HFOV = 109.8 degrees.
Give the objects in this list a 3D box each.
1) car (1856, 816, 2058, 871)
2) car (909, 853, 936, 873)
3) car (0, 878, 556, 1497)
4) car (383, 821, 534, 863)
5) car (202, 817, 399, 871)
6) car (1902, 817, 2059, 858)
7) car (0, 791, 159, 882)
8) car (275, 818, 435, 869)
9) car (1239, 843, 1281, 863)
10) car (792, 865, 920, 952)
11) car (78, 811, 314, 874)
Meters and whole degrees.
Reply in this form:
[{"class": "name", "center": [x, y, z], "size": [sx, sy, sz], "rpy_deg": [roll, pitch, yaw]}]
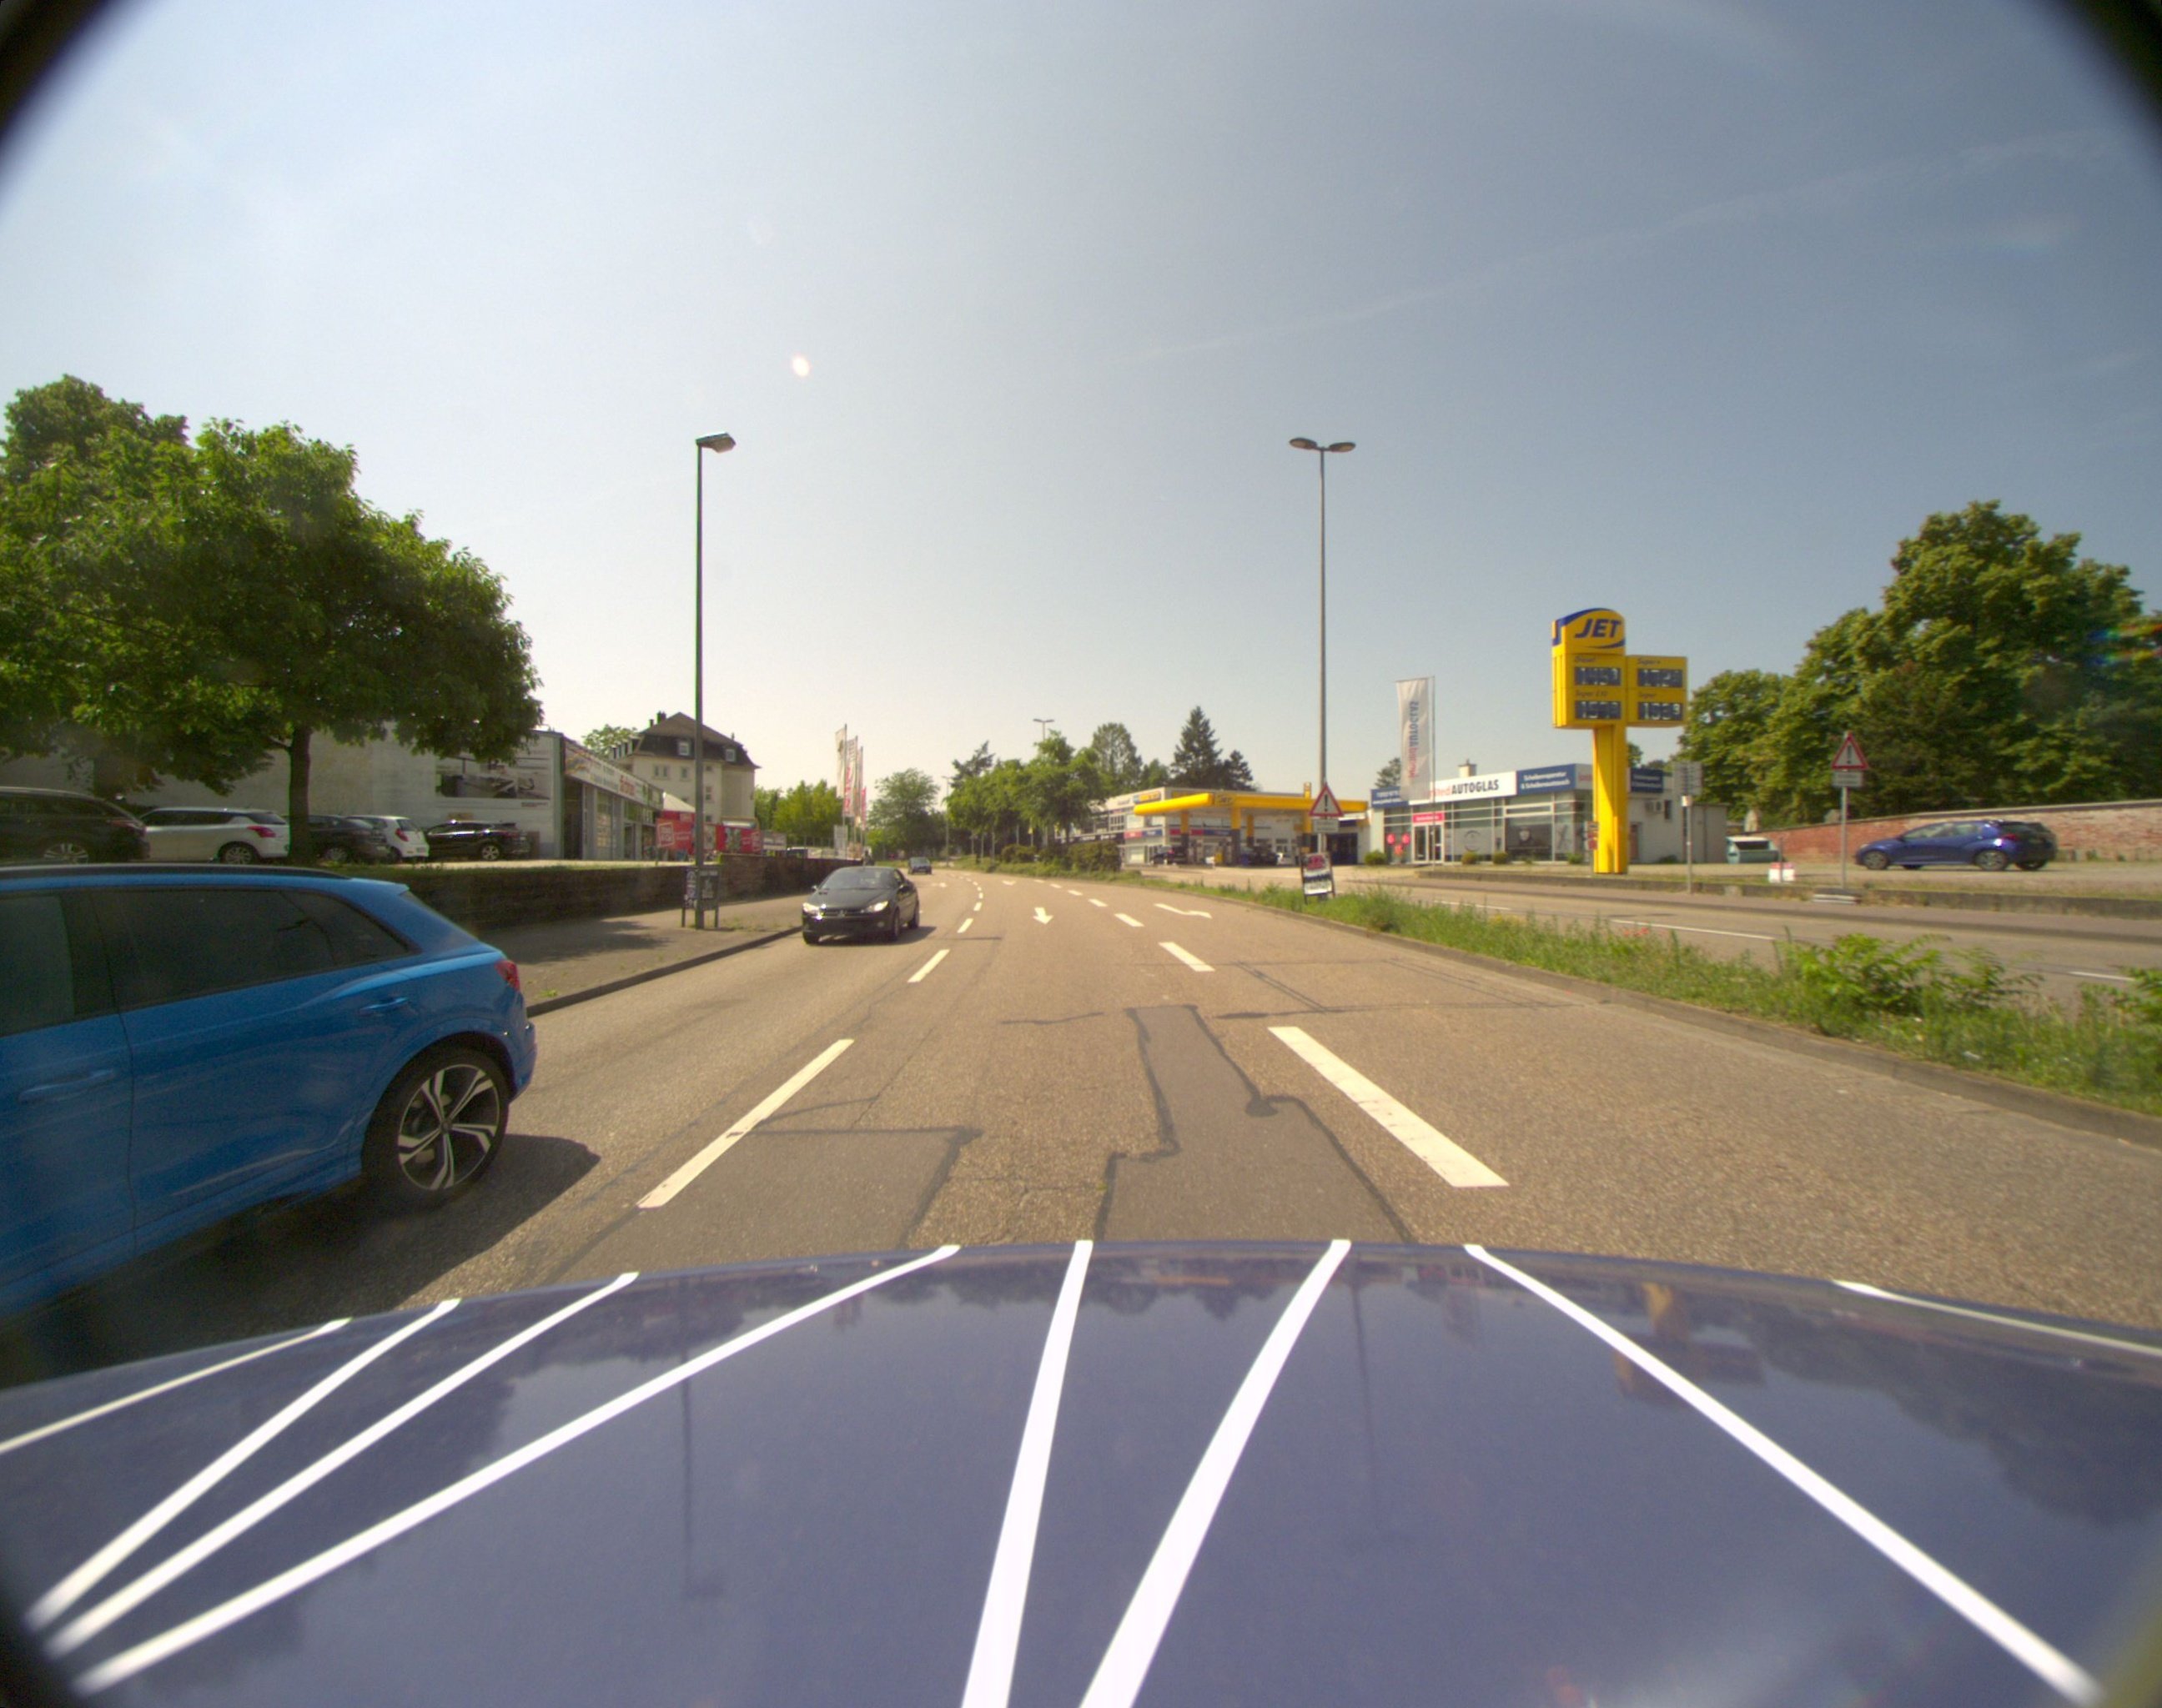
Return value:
[{"class": "car", "center": [26.190, -0.304, 22.897], "size": [1.695, 1.497, 3.626], "rpy_deg": [-1, 1, -14]}, {"class": "car", "center": [-12.725, 0.711, 60.891], "size": [1.700, 1.366, 3.992], "rpy_deg": [0, 2, -18]}, {"class": "car", "center": [-3.861, 0.955, 1.930], "size": [1.918, 1.587, 4.395], "rpy_deg": [-3, 0, 0]}, {"class": "car", "center": [-23.286, -0.455, 28.618], "size": [4.003, 1.531, 1.735], "rpy_deg": [-1, 1, -19]}, {"class": "car", "center": [-21.155, -0.274, 20.762], "size": [3.323, 1.377, 1.656], "rpy_deg": [-1, 1, -18]}, {"class": "car", "center": [35.042, -0.608, 29.742], "size": [1.621, 1.497, 3.626], "rpy_deg": [-1, 1, -14]}, {"class": "car", "center": [-18.533, -0.247, 12.501], "size": [1.995, 1.475, 3.855], "rpy_deg": [-2, 1, 26]}, {"class": "car", "center": [-22.006, -0.320, 23.153], "size": [3.156, 1.463, 1.501], "rpy_deg": [-1, 1, -15]}, {"class": "car", "center": [15.013, -0.101, 63.914], "size": [1.657, 1.534, 4.207], "rpy_deg": [-2, 1, -15]}, {"class": "car", "center": [-4.243, 0.959, 14.856], "size": [1.604, 1.416, 3.660], "rpy_deg": [0, 0, -4]}, {"class": "car", "center": [-20.847, -0.283, 18.059], "size": [3.293, 1.403, 1.528], "rpy_deg": [-1, 1, -18]}]
